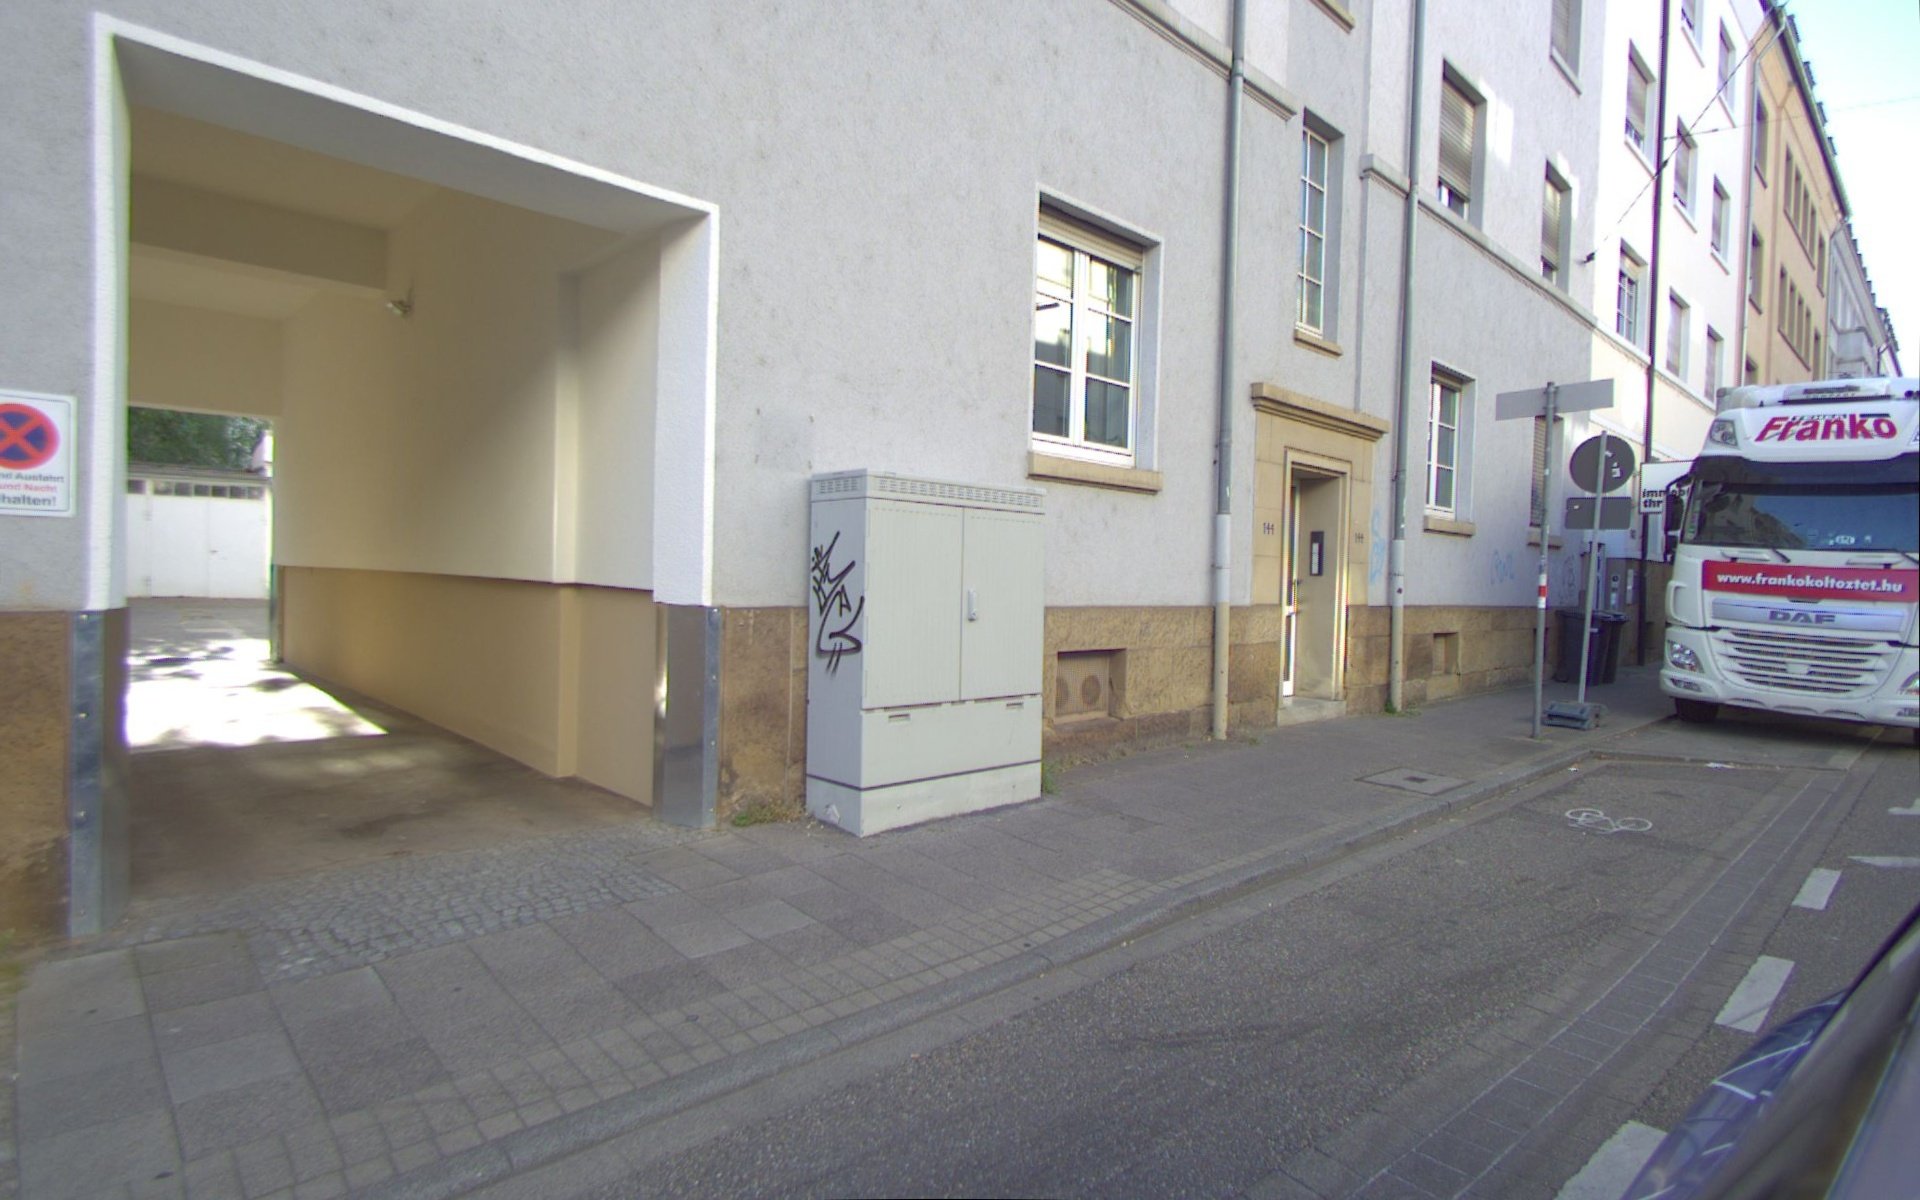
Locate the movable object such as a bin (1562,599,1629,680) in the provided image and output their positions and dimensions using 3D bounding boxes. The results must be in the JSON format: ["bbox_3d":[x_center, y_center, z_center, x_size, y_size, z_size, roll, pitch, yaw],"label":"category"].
[{"bbox_3d":[9.157,0.549,14.585,0.560,1.107,0.665,0,2,-43],"label":"movable object such as a bin"}]

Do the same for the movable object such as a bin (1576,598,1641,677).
[{"bbox_3d":[9.637,0.541,15.036,0.560,1.107,0.665,0,2,-43],"label":"movable object such as a bin"}]

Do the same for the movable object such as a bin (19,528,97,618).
[{"bbox_3d":[-15.167,-0.461,17.012,0.946,1.426,1.597,0,2,-43],"label":"movable object such as a bin"}]

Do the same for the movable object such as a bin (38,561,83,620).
[{"bbox_3d":[-14.390,-0.154,16.194,0.518,0.922,0.580,0,2,-43],"label":"movable object such as a bin"}]

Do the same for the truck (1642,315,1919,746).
[{"bbox_3d":[12.562,-0.680,13.878,11.621,3.975,2.778,0,2,-44],"label":"truck"}]

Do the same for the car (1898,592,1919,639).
[{"bbox_3d":[33.489,0.529,34.733,4.080,1.551,1.681,0,0,-44],"label":"car"}]

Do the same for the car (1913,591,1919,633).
[{"bbox_3d":[37.659,0.462,38.631,4.080,1.551,1.681,0,0,-44],"label":"car"}]
